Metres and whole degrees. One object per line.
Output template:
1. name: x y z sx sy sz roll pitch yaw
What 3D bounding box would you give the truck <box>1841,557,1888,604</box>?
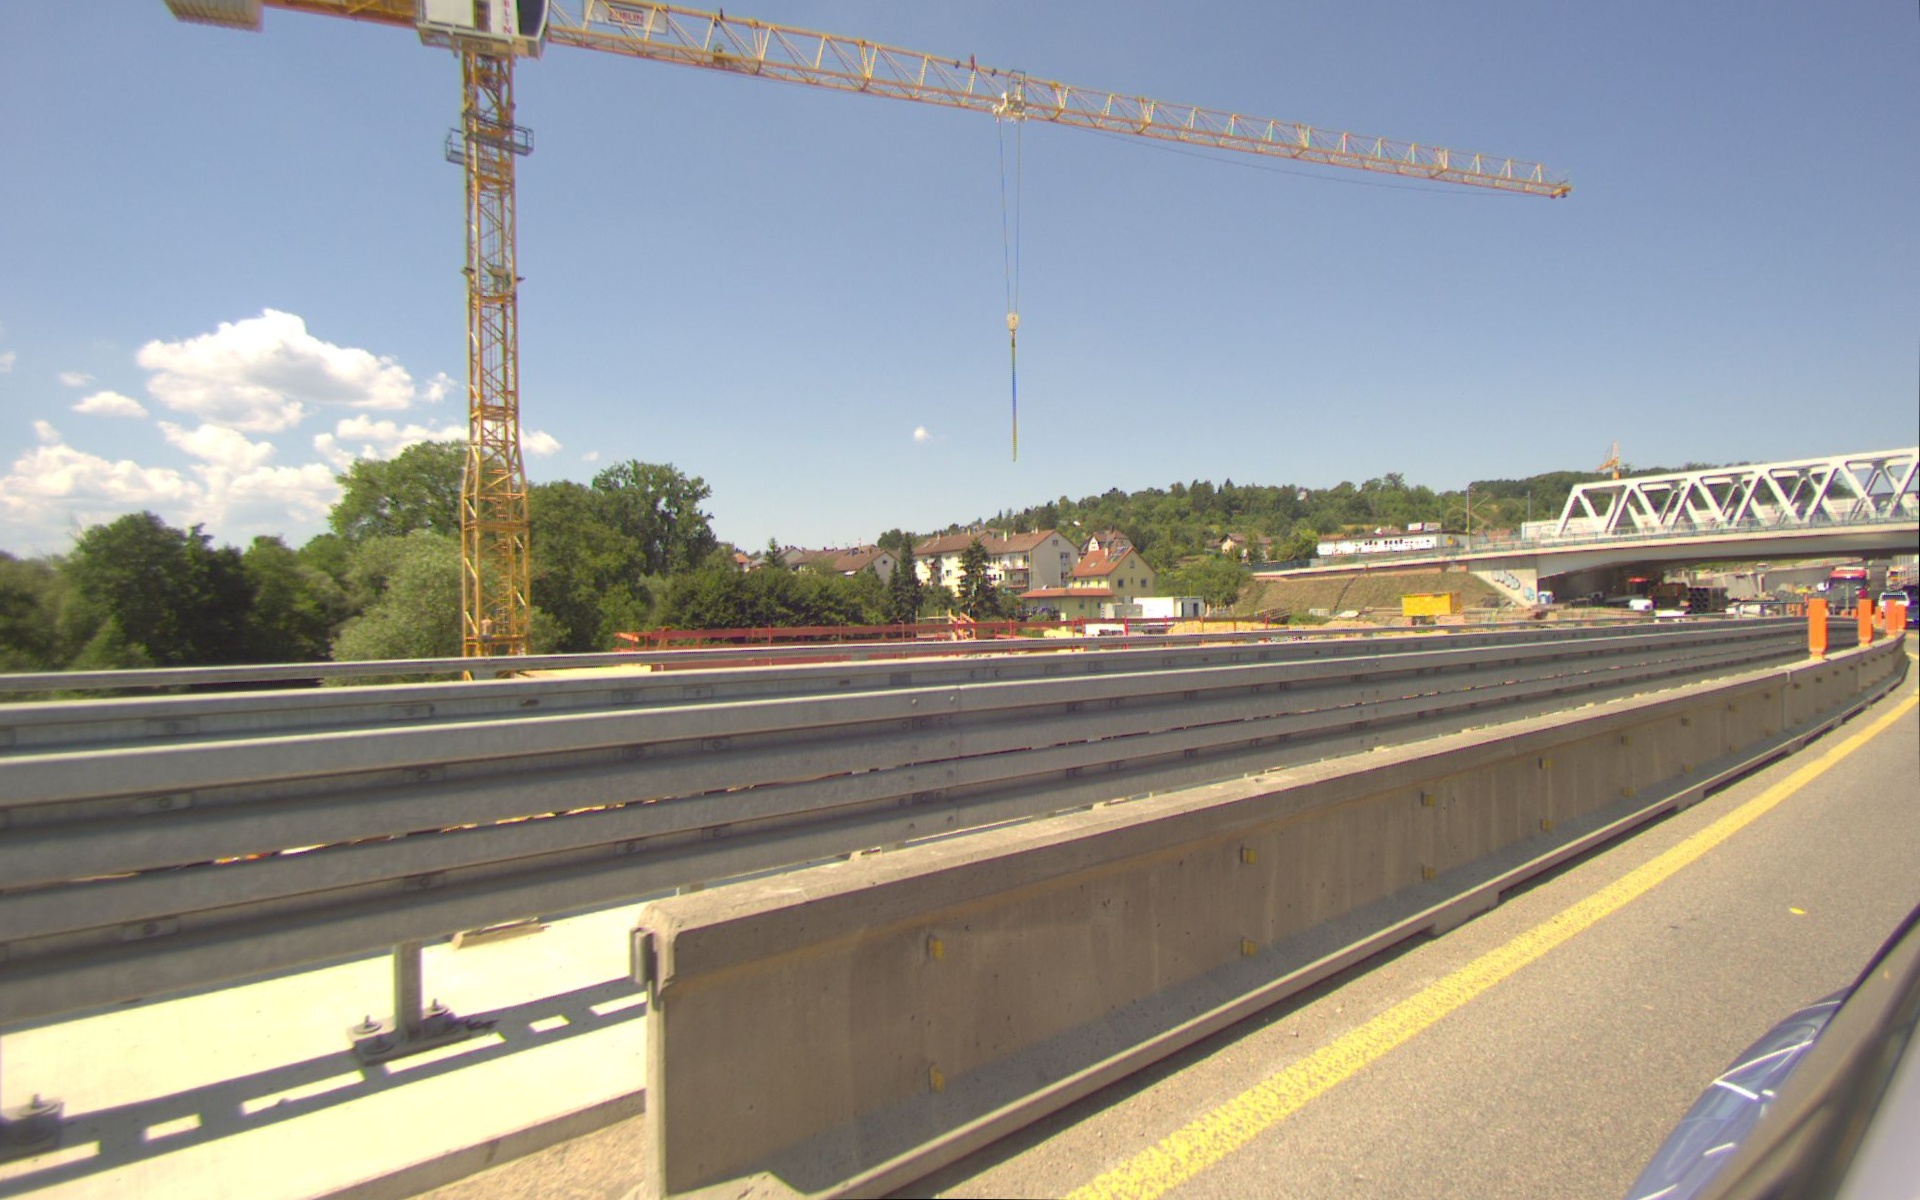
1. truck: 76.986 -1.605 86.260 2.693 3.772 8.383 2 1 40

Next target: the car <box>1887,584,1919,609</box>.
1. car: 73.713 -0.246 78.775 3.929 1.906 1.790 1 -2 -40

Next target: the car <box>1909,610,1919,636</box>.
1. car: 60.873 1.445 63.237 1.782 1.608 3.946 -2 -2 37
